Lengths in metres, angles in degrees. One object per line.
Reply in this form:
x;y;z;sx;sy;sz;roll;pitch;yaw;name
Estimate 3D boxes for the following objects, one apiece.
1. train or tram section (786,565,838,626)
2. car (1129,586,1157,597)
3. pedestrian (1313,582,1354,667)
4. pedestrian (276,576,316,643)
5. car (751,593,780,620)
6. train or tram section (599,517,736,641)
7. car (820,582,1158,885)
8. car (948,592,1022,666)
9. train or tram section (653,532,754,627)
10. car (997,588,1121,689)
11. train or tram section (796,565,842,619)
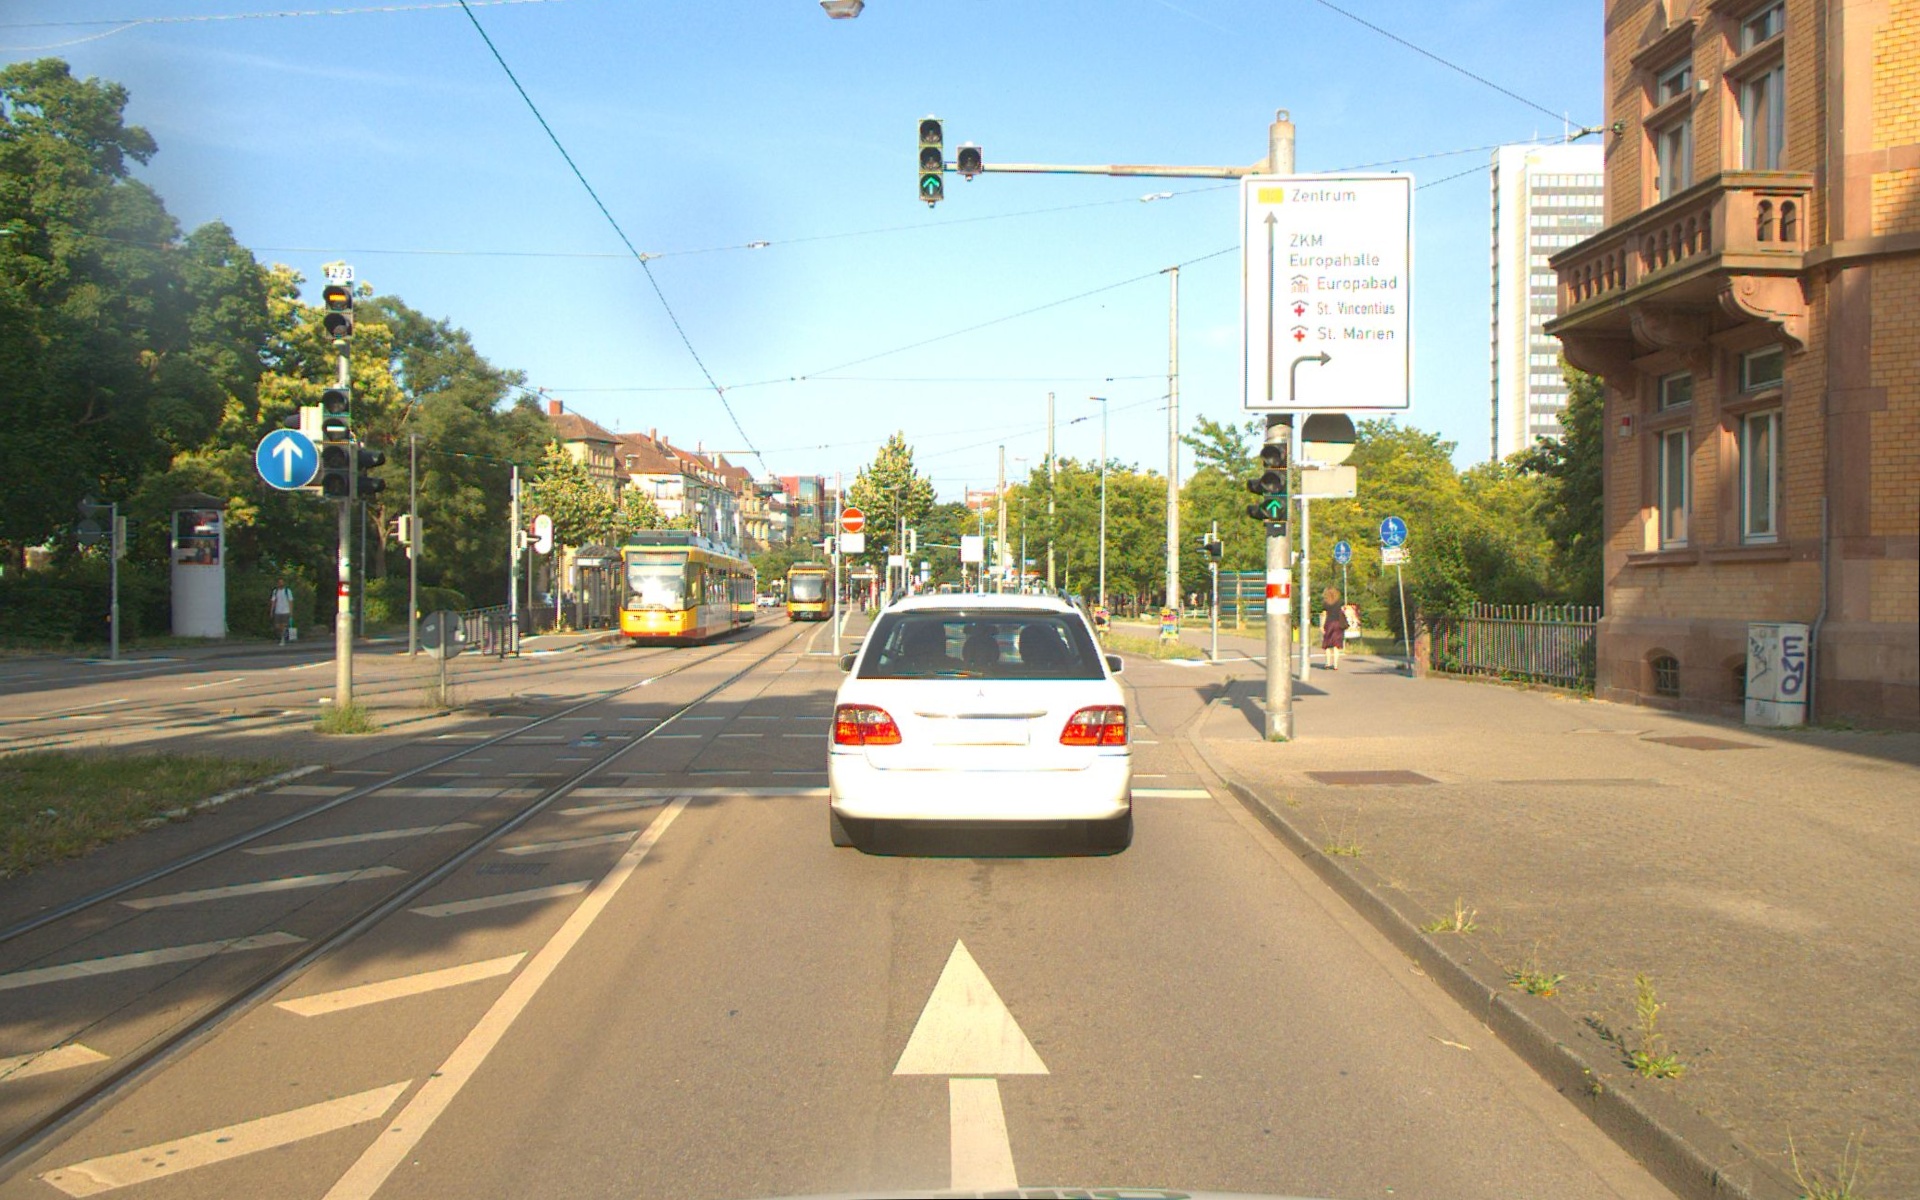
-9.166;-0.354;103.719;2.793;3.540;13.191;1;1;-3;train or tram section
26.478;-1.223;239.464;3.901;1.680;2.002;0;0;11;car
7.780;0.506;34.503;0.602;1.721;0.548;-4;0;0;pedestrian
-19.438;0.282;48.430;0.986;1.942;0.705;1;0;-17;pedestrian
-21.160;0.703;180.204;2.545;2.783;7.464;1;1;-3;car
-9.409;-0.679;54.995;3.100;3.540;14.519;1;1;-5;train or tram section
0.103;0.664;10.544;1.723;1.530;3.999;-1;1;-1;car
0.633;0.695;41.997;1.750;1.719;4.000;1;1;1;car
-10.555;-0.848;69.434;3.100;3.540;14.458;1;1;-5;train or tram section
1.686;0.632;29.488;1.991;1.633;4.000;1;1;0;car
-9.861;-0.595;116.690;2.793;3.540;13.191;1;1;-3;train or tram section
